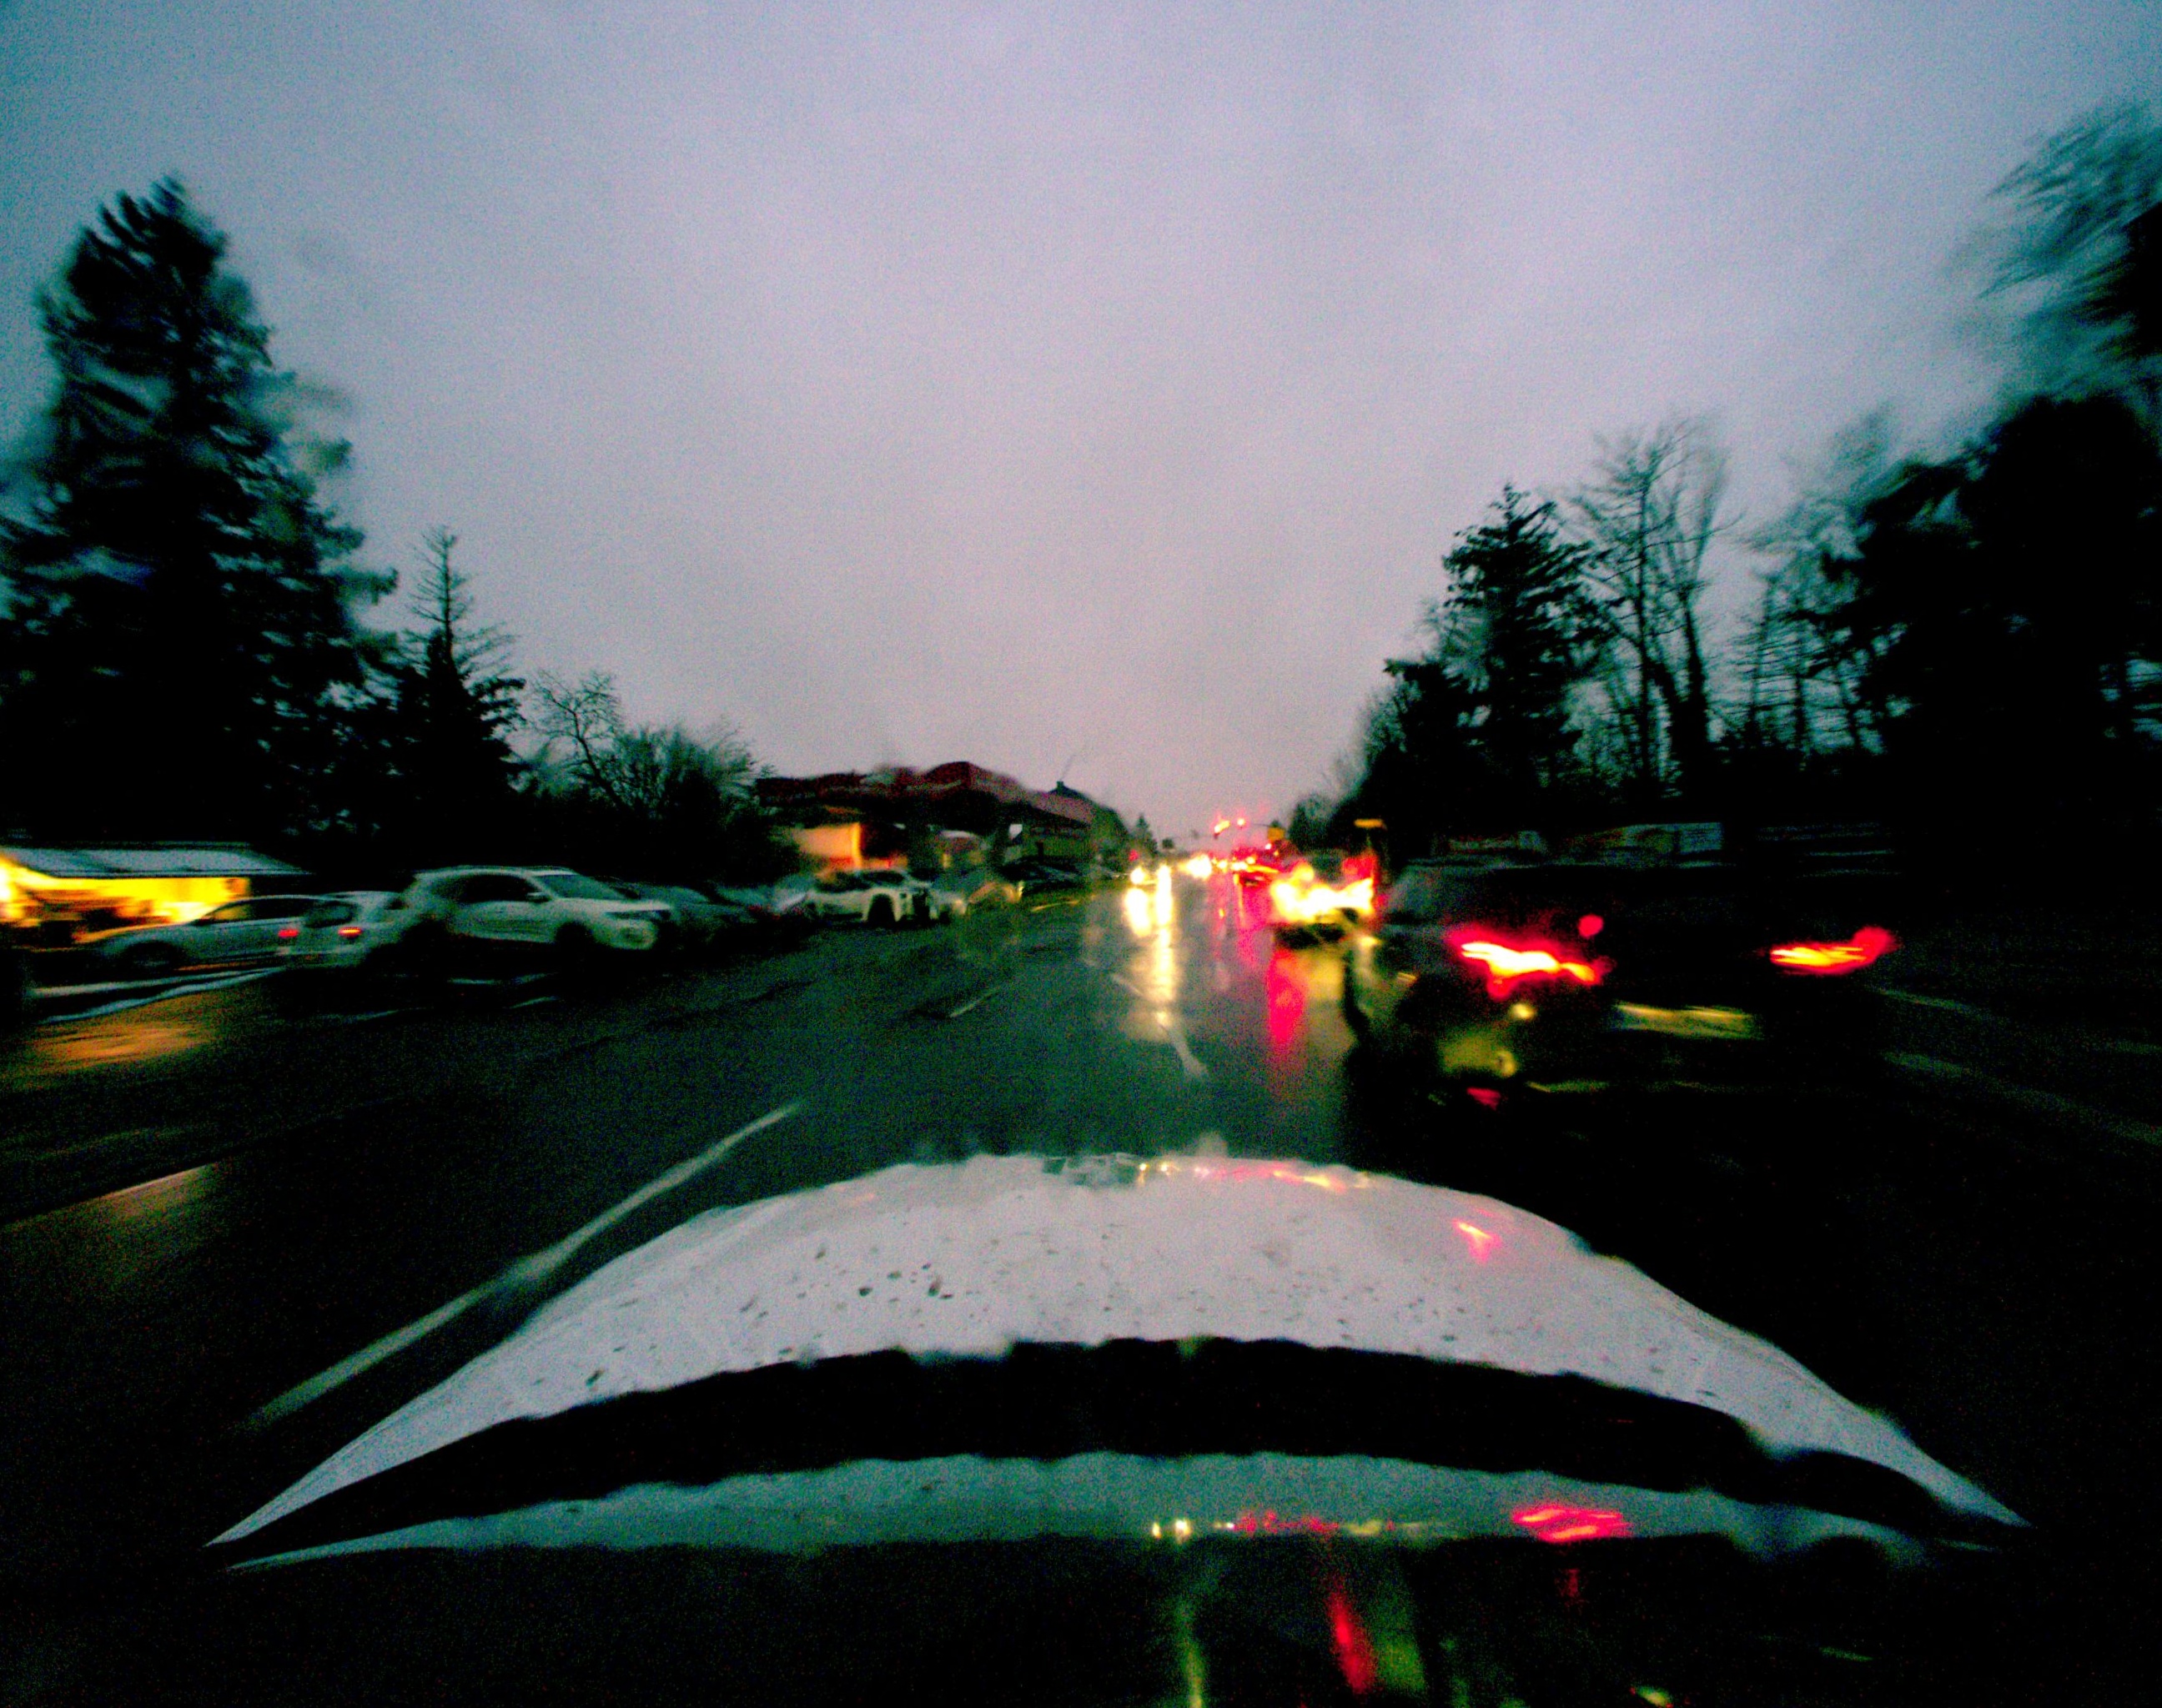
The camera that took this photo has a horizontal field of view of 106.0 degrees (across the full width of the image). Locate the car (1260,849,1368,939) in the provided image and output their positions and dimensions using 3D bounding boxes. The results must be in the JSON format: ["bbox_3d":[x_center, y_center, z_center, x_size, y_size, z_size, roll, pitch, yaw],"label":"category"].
[{"bbox_3d":[4.720,0.739,17.038,1.697,1.576,4.477,-3,-1,10],"label":"car"}]

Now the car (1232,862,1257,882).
[{"bbox_3d":[11.684,1.272,58.504,1.643,1.336,4.284,-2,-1,10],"label":"car"}]

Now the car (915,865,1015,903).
[{"bbox_3d":[-5.182,1.345,36.561,4.006,1.554,1.828,-1,0,9],"label":"car"}]

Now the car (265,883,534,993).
[{"bbox_3d":[-12.714,1.484,15.528,1.660,1.676,3.715,-2,-1,8],"label":"car"}]

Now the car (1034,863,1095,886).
[{"bbox_3d":[-1.201,1.499,60.914,4.250,1.662,2.006,0,-1,10],"label":"car"}]

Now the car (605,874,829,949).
[{"bbox_3d":[-8.222,1.285,18.567,4.309,1.498,1.831,-2,-1,10],"label":"car"}]

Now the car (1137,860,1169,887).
[{"bbox_3d":[4.608,1.230,51.598,1.593,1.534,4.010,-4,-1,9],"label":"car"}]

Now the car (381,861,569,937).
[{"bbox_3d":[-16.873,1.231,22.773,3.962,1.922,1.964,-2,-1,10],"label":"car"}]

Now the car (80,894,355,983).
[{"bbox_3d":[-17.115,1.593,16.349,1.653,1.384,3.645,-3,-1,43],"label":"car"}]

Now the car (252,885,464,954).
[{"bbox_3d":[-17.809,1.597,20.127,3.962,1.510,1.794,-2,-1,10],"label":"car"}]

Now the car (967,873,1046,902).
[{"bbox_3d":[-3.974,1.799,43.929,3.835,1.346,1.844,-2,-1,9],"label":"car"}]

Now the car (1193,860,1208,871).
[{"bbox_3d":[20.709,1.944,141.021,1.980,1.746,4.014,-4,-1,13],"label":"car"}]

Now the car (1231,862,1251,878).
[{"bbox_3d":[15.801,1.564,80.488,1.825,1.568,4.516,-1,-1,10],"label":"car"}]

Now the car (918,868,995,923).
[{"bbox_3d":[-3.981,1.301,26.517,1.509,1.543,3.023,-4,-1,10],"label":"car"}]

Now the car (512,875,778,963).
[{"bbox_3d":[-8.511,1.255,16.062,4.306,1.498,2.001,-2,-1,12],"label":"car"}]

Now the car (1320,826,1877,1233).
[{"bbox_3d":[2.564,0.697,5.174,1.555,1.529,4.018,-2,-1,10],"label":"car"}]

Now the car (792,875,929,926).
[{"bbox_3d":[-6.958,1.460,25.907,3.751,1.459,1.780,-1,-1,7],"label":"car"}]

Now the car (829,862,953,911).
[{"bbox_3d":[-7.132,1.206,30.739,4.020,1.650,1.948,-3,-1,11],"label":"car"}]

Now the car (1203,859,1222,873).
[{"bbox_3d":[15.807,1.428,97.874,2.036,1.573,4.712,-3,-1,7],"label":"car"}]

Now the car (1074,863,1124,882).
[{"bbox_3d":[1.670,1.677,74.133,4.250,1.627,2.006,0,-1,10],"label":"car"}]

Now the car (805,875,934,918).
[{"bbox_3d":[-7.183,1.426,27.859,3.835,1.346,1.844,-1,-1,9],"label":"car"}]

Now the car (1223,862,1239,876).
[{"bbox_3d":[16.183,1.593,88.036,1.652,1.439,4.393,-2,-1,10],"label":"car"}]

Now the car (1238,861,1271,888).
[{"bbox_3d":[9.442,1.094,44.527,1.630,1.366,4.782,-2,-1,10],"label":"car"}]

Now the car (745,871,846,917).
[{"bbox_3d":[-10.624,1.457,30.622,1.822,1.489,3.883,-1,0,11],"label":"car"}]

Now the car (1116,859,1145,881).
[{"bbox_3d":[4.543,1.446,73.911,1.958,1.830,4.525,-4,-1,10],"label":"car"}]

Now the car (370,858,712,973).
[{"bbox_3d":[-8.993,0.991,13.806,4.511,1.676,2.014,-2,-1,5],"label":"car"}]

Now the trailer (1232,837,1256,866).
[{"bbox_3d":[19.658,-0.218,98.837,2.473,3.241,10.897,-2,-1,10],"label":"trailer"}]

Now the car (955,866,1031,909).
[{"bbox_3d":[-3.221,1.197,30.473,1.671,1.421,3.752,-3,-1,12],"label":"car"}]

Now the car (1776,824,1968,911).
[{"bbox_3d":[16.892,0.235,17.339,4.501,1.608,1.998,-2,-1,-34],"label":"car"}]
